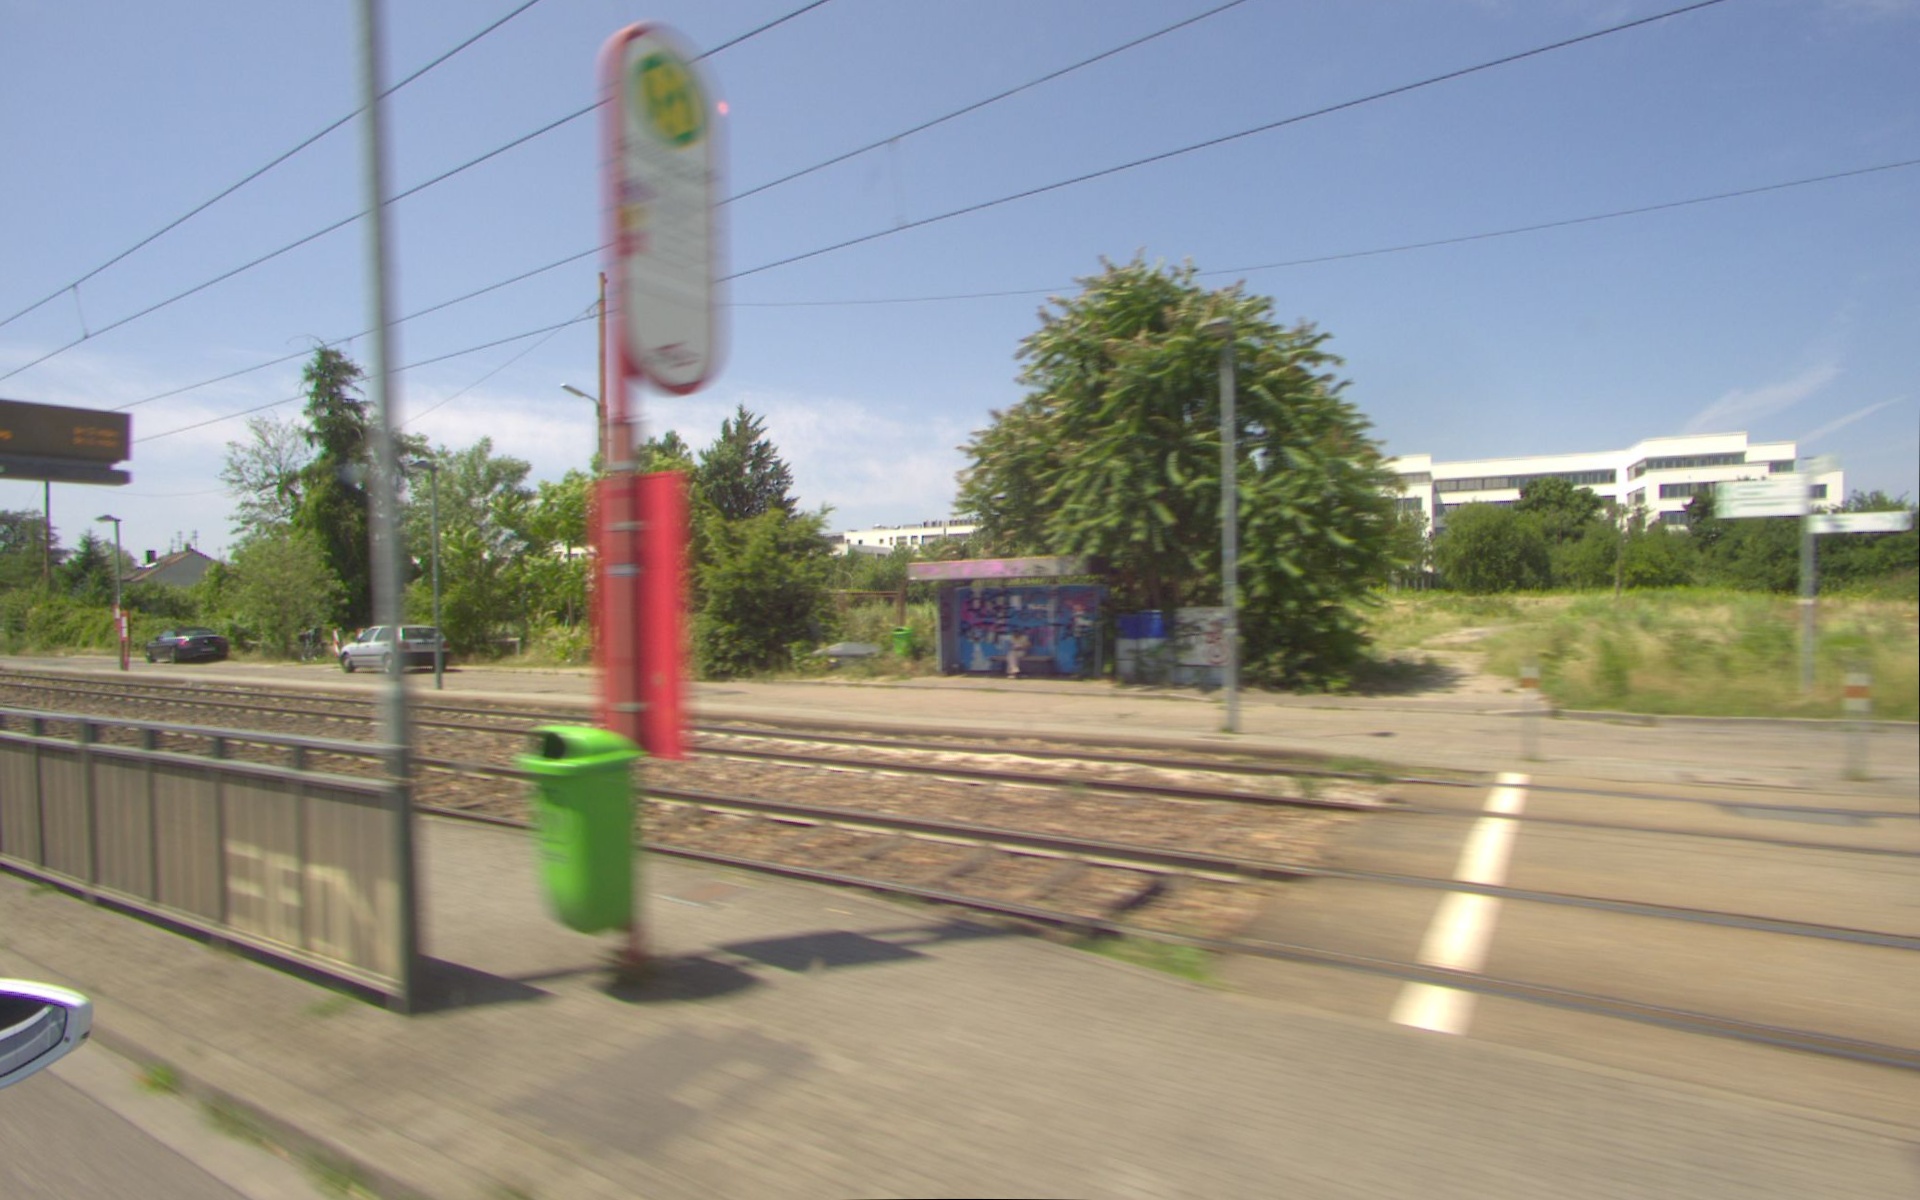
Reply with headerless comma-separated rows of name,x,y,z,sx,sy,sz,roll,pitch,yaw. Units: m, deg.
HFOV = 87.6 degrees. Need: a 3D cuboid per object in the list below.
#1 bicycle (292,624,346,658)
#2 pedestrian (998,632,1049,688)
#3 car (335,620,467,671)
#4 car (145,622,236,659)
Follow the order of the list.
bicycle,-25.204,1.605,39.388,1.647,1.286,0.704,-1,1,-1
pedestrian,1.316,1.227,20.681,0.710,1.101,0.805,0,0,41
car,-16.907,1.342,30.250,3.945,1.440,1.934,-1,-1,34
car,-31.784,1.632,41.300,4.807,1.440,1.615,-1,-1,35
